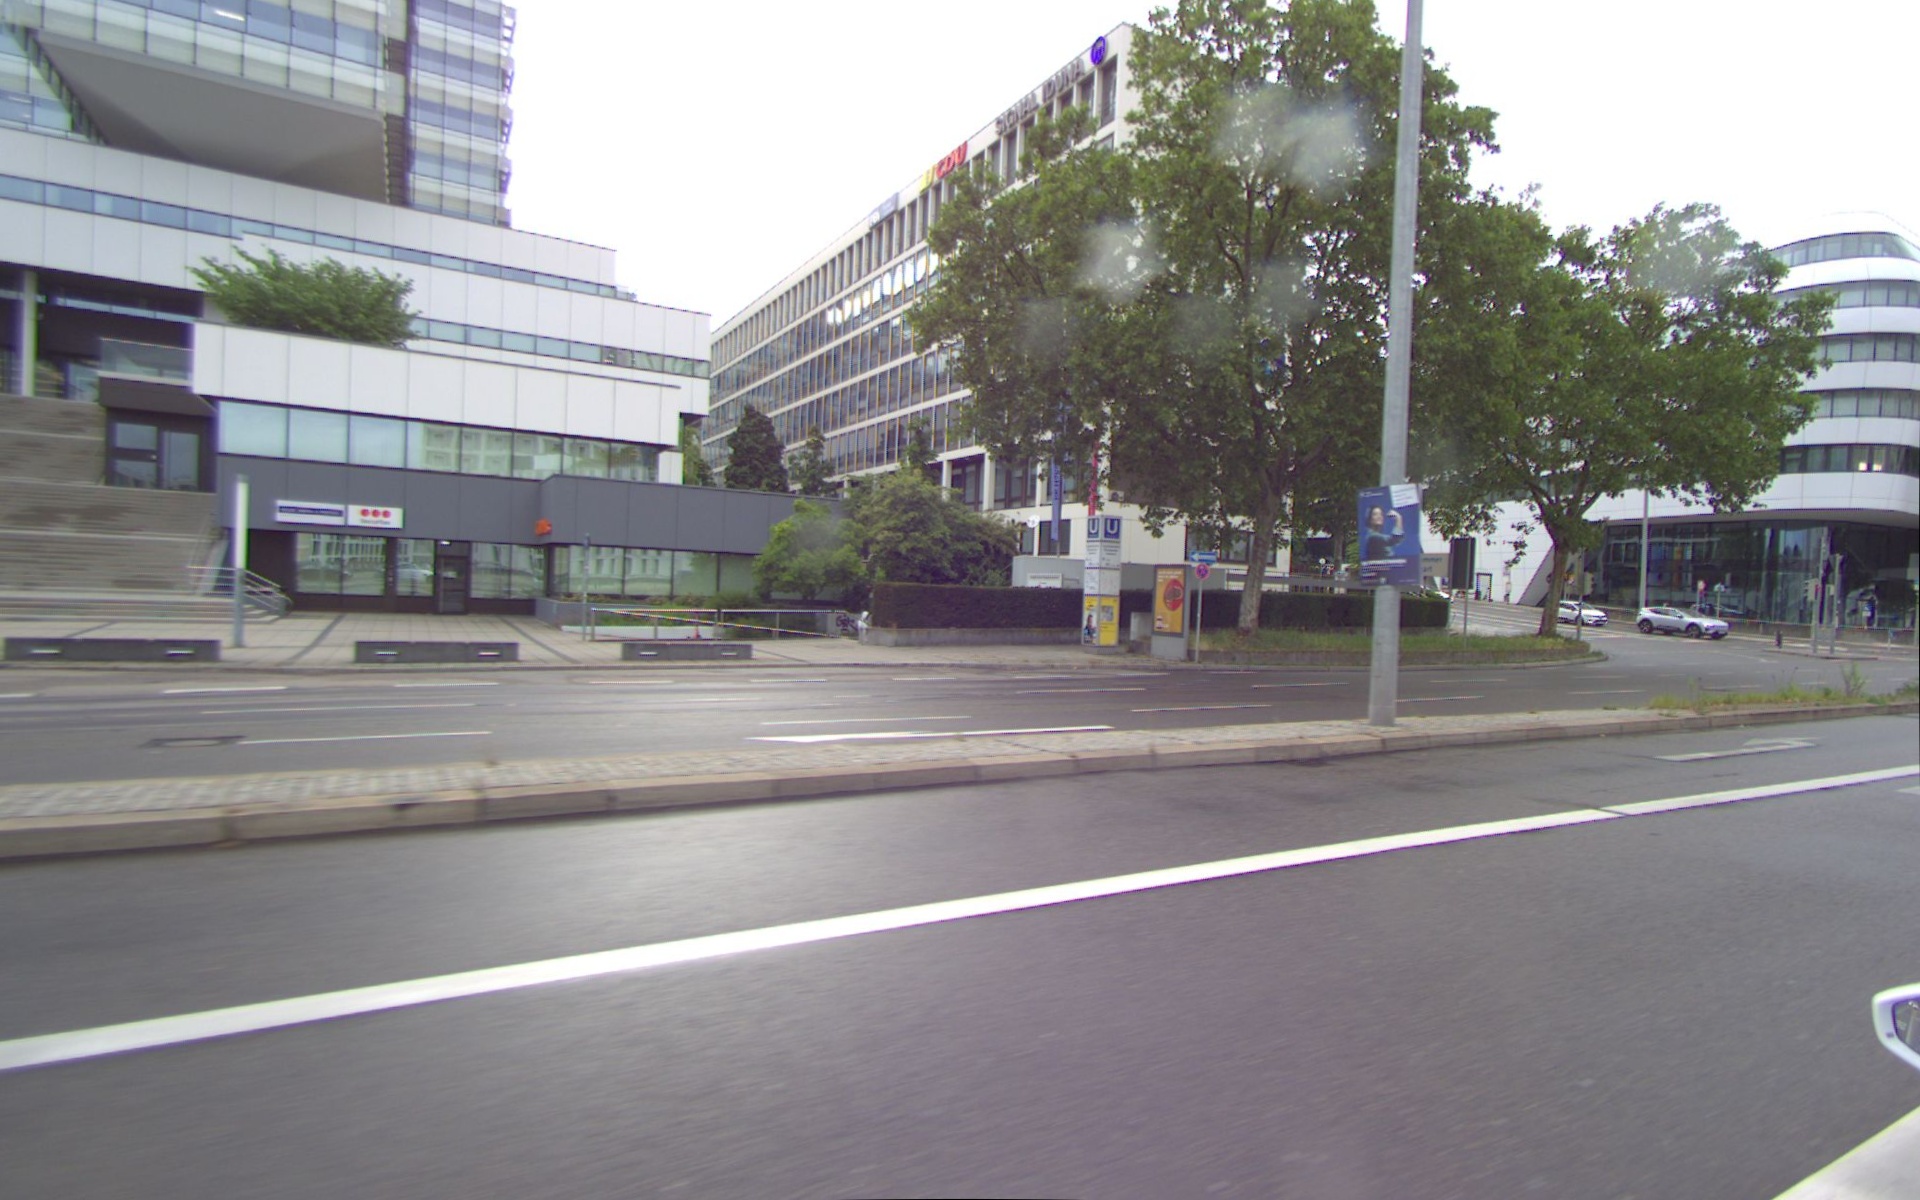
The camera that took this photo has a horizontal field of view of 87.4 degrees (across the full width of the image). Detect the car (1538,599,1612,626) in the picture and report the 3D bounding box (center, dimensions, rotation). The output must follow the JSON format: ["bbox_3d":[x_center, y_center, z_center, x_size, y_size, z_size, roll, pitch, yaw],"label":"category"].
[{"bbox_3d":[40.575,0.827,66.356,1.862,1.653,3.990,3,-1,-13],"label":"car"}]

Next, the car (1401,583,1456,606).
[{"bbox_3d":[37.164,-0.436,79.787,1.862,1.653,3.989,3,1,-13],"label":"car"}]

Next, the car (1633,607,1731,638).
[{"bbox_3d":[41.898,1.295,58.400,1.862,1.653,4.505,3,-1,-13],"label":"car"}]
